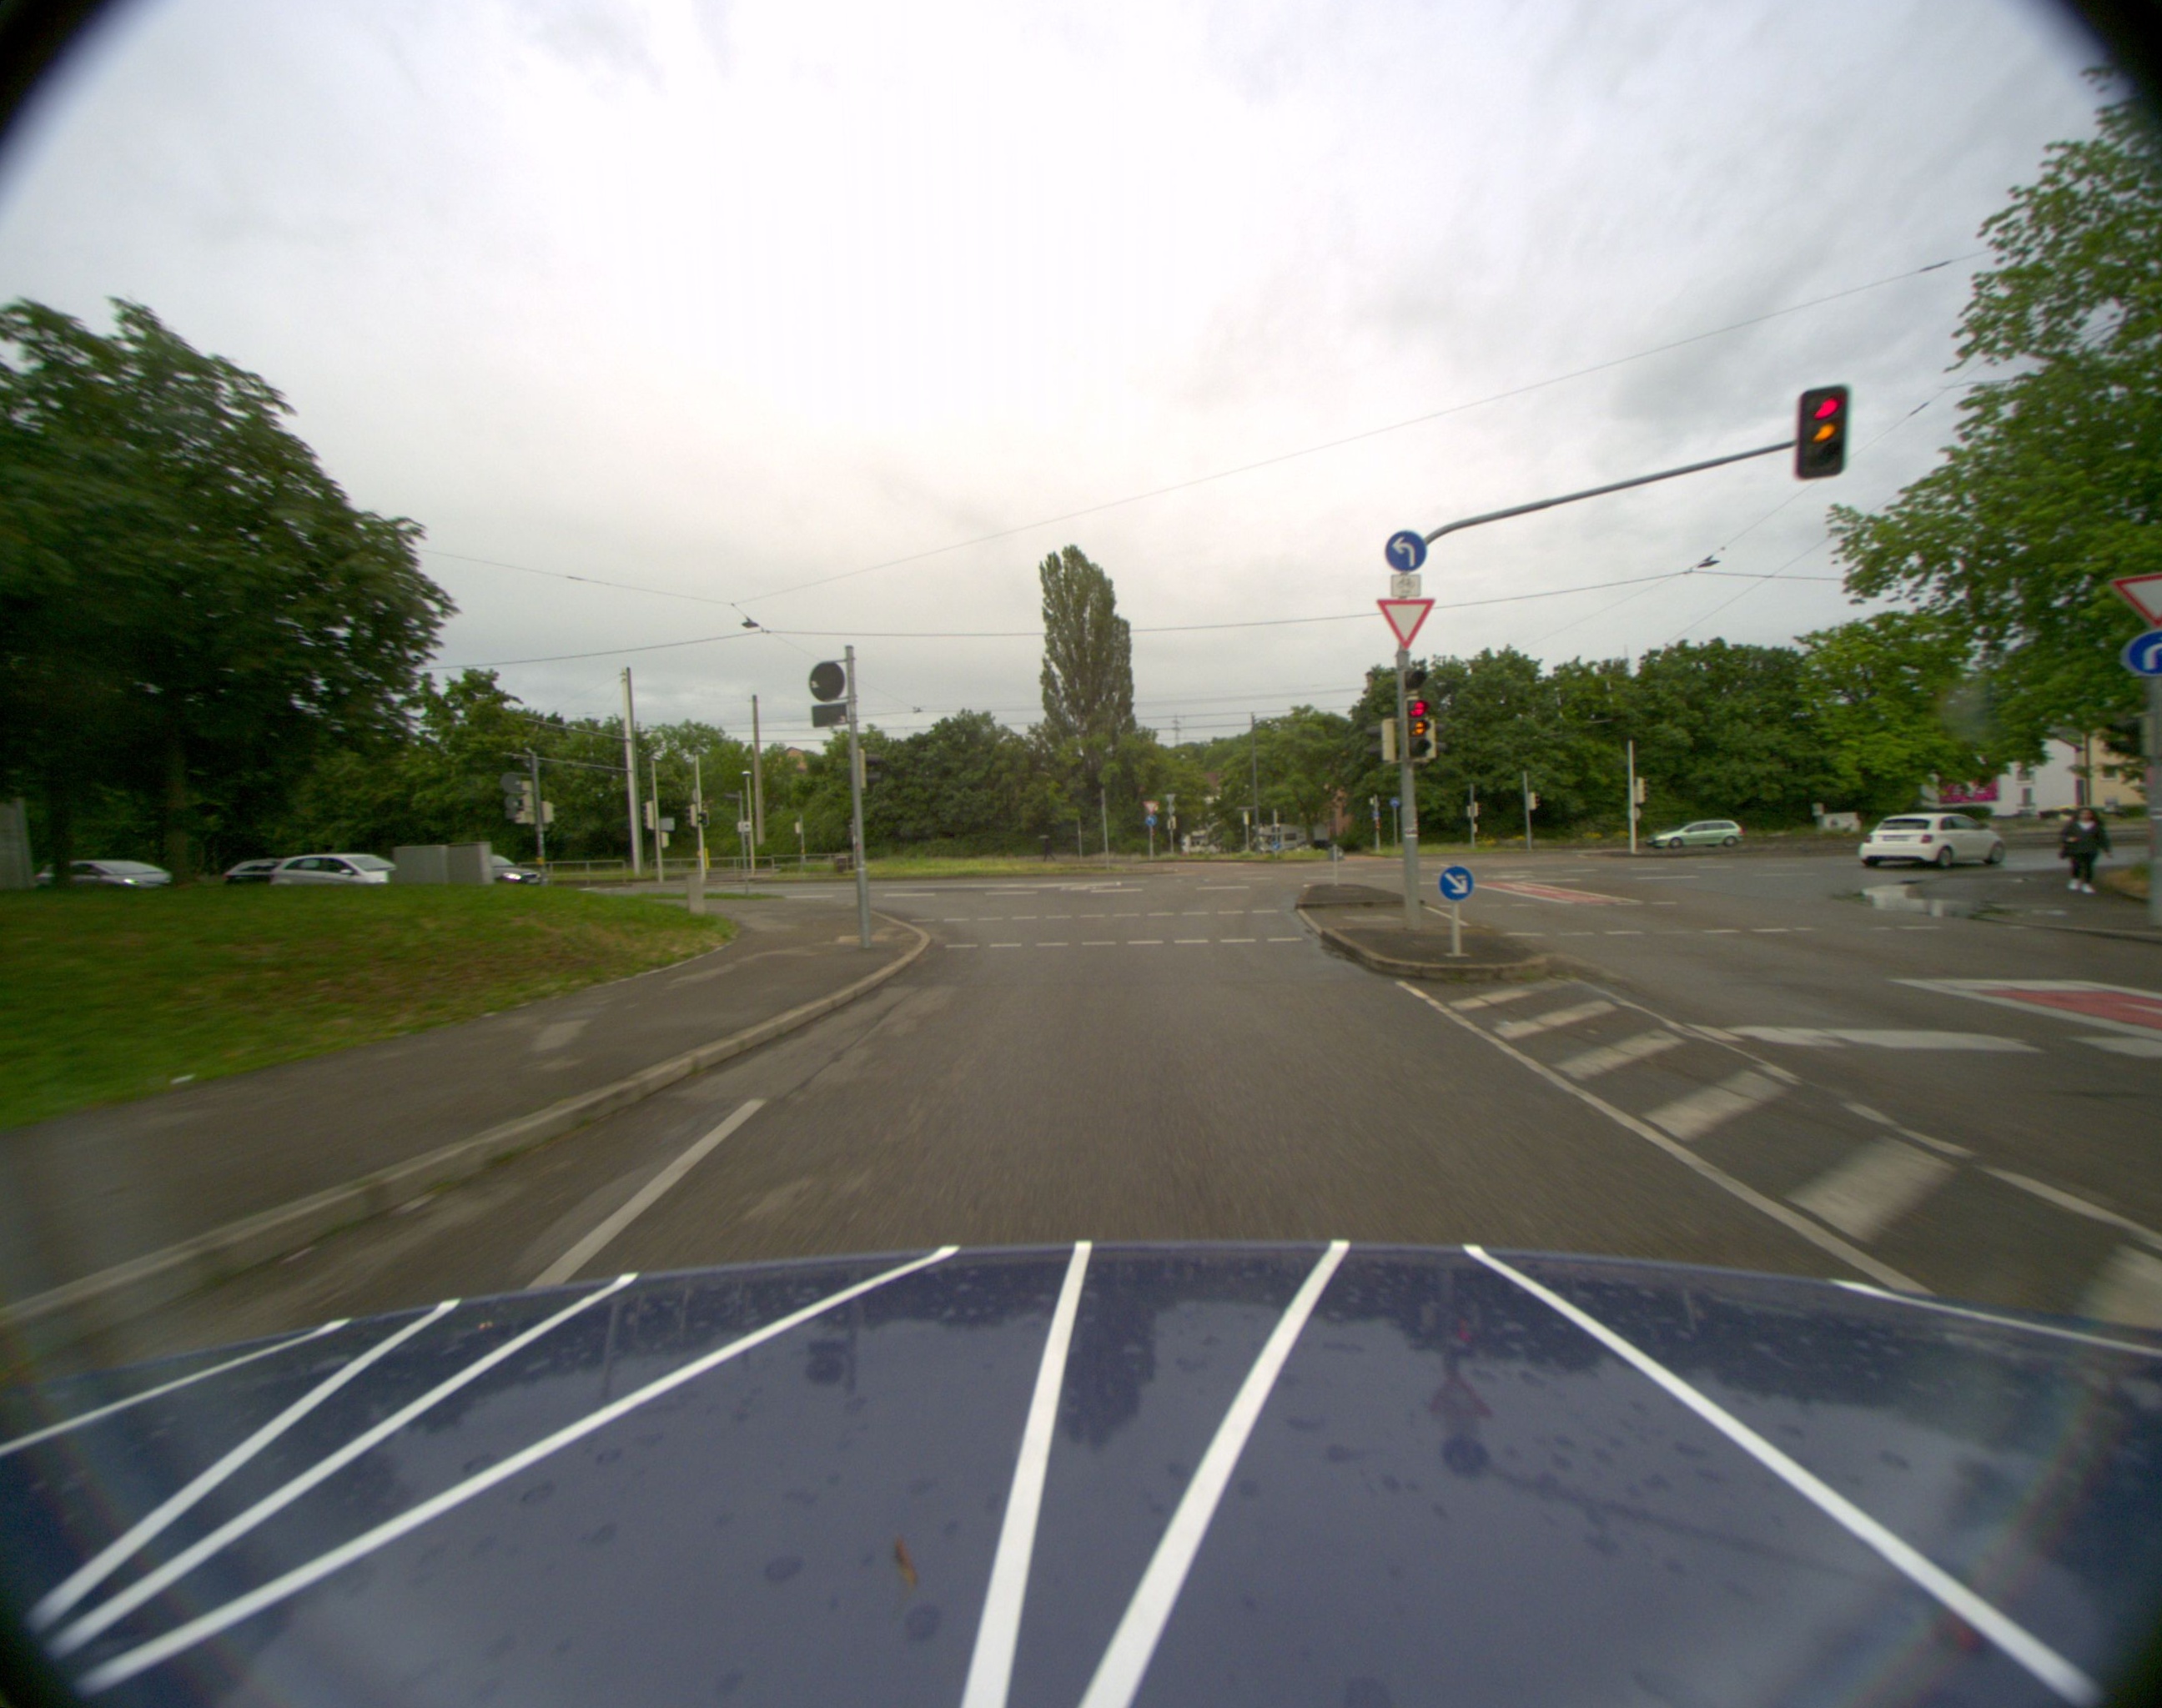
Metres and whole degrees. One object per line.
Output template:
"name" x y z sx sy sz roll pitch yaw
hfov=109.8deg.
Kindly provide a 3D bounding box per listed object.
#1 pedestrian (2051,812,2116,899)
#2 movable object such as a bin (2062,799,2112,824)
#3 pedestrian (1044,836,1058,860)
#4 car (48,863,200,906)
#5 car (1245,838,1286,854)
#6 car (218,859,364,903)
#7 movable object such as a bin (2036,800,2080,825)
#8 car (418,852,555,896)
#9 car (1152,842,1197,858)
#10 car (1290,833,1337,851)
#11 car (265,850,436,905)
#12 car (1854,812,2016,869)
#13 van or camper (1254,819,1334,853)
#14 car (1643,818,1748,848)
"pedestrian" 18.379 0.028 13.945 0.670 1.522 0.591 -4 0 -42
"movable object such as a bin" 62.822 -2.646 47.456 1.299 1.409 1.316 -4 0 5
"pedestrian" -2.058 -0.398 52.400 0.682 1.597 0.810 -4 0 7
"car" -35.803 1.116 28.480 3.787 1.394 1.606 -1 3 4
"car" 19.620 -0.856 80.962 3.996 1.539 1.836 -2 1 4
"car" -29.154 0.988 28.094 3.787 1.394 1.606 -1 3 4
"movable object such as a bin" 61.213 -2.589 47.600 1.133 1.409 1.188 -4 0 5
"car" -21.721 0.718 27.845 3.787 1.394 1.606 -1 3 4
"car" 8.885 -0.418 72.348 3.997 1.346 1.678 -2 1 1
"car" 19.961 -1.041 65.323 3.470 1.346 1.678 -2 1 1
"car" -23.631 0.740 24.689 3.859 1.546 1.724 -1 4 3
"car" 24.802 -0.418 22.084 4.003 1.474 1.689 -3 2 -19
"van or camper" 19.041 -1.580 68.202 6.425 2.739 2.431 -2 1 3
"car" 34.301 -1.150 42.529 4.195 1.440 1.890 -2 1 6
